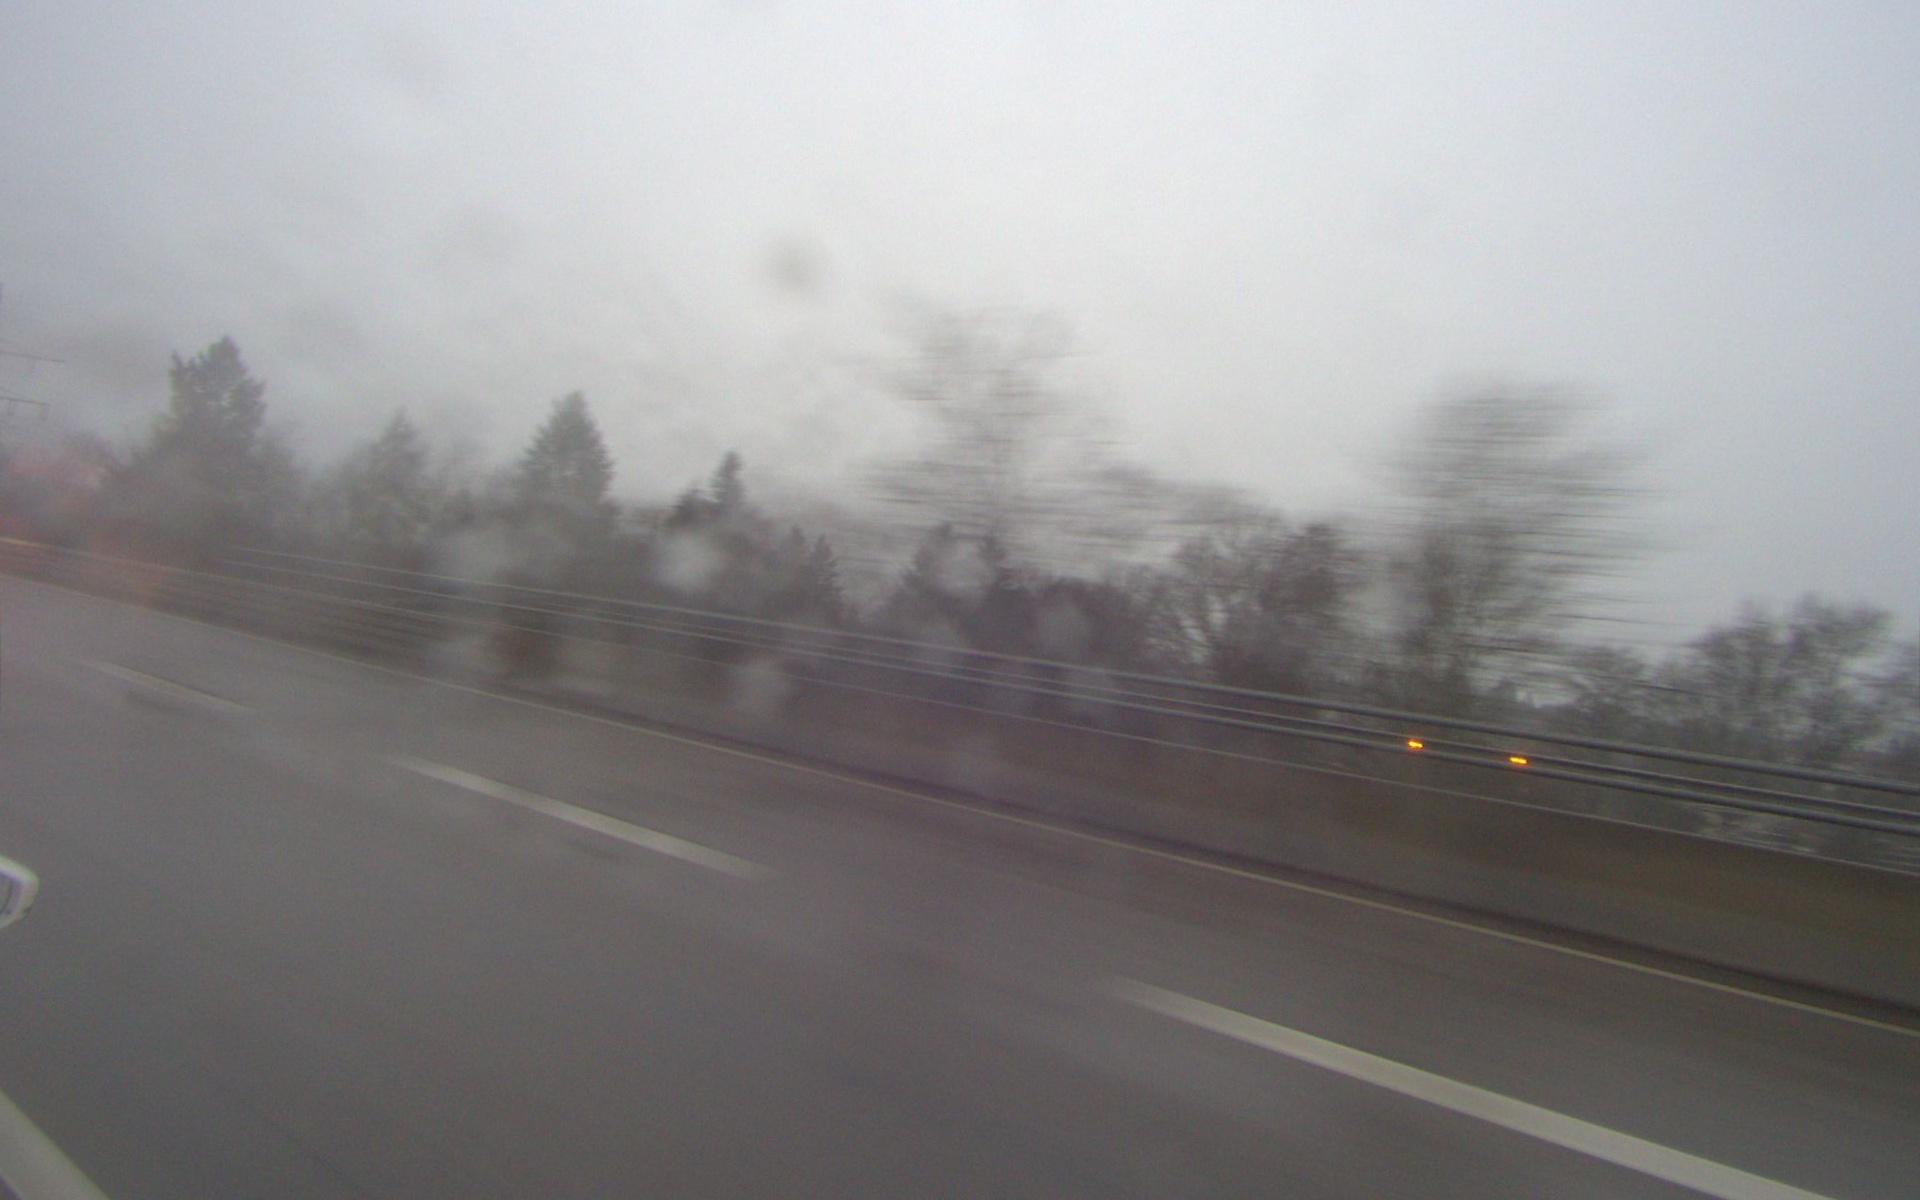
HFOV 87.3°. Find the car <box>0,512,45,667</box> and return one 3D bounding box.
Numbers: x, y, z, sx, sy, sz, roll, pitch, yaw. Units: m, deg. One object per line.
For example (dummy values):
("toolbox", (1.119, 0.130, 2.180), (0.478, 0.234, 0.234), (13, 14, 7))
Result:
("car", (-11.457, -0.373, 10.401), (4.080, 1.471, 1.848), (8, -1, 32))
